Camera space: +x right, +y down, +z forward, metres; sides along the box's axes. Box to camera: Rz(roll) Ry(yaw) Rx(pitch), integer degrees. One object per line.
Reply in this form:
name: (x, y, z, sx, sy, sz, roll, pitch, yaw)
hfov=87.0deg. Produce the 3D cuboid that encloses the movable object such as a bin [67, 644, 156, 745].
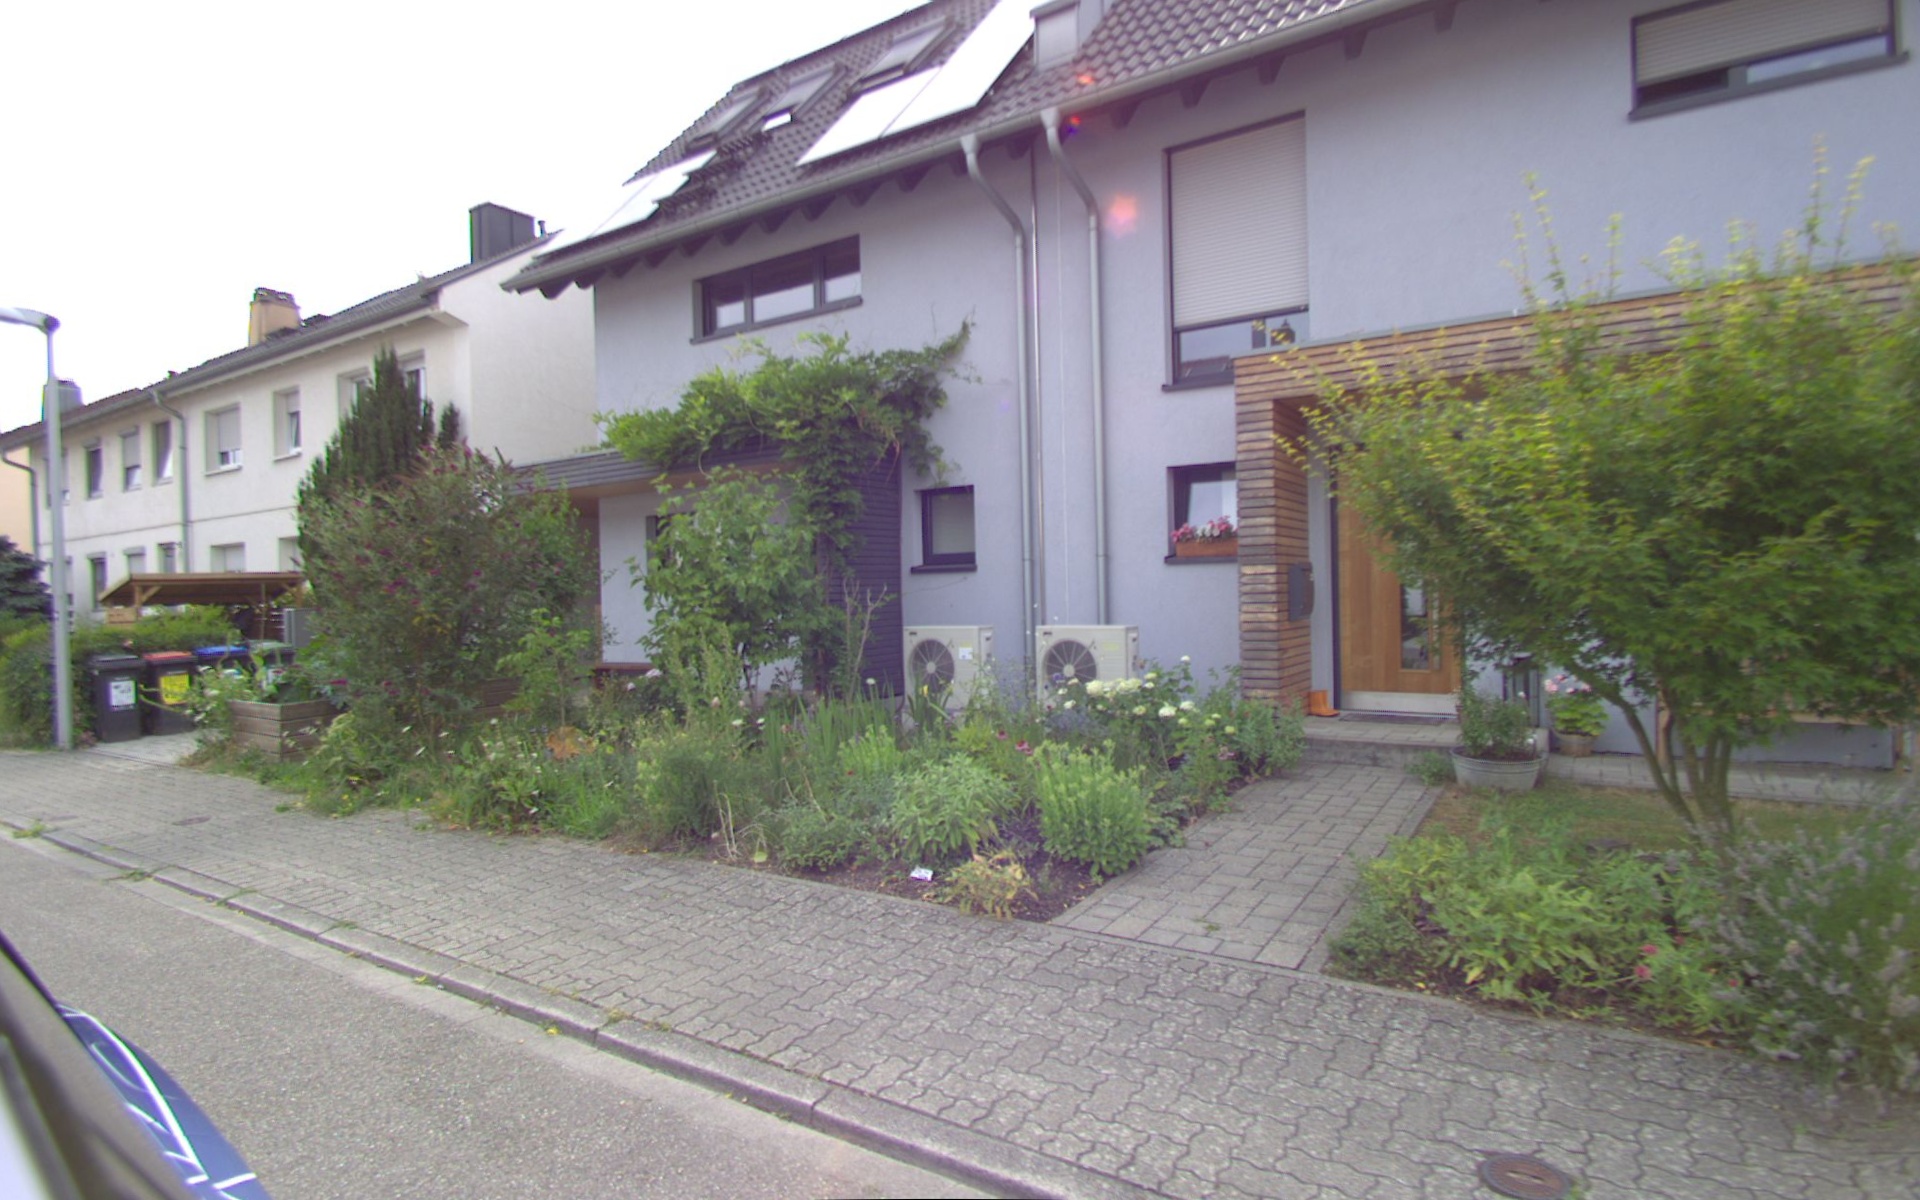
movable object such as a bin: (-9.358, 1.022, 11.163, 0.663, 1.035, 0.597, -1, -1, 34)

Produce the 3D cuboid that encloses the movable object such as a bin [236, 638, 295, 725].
movable object such as a bin: (-8.438, 0.977, 12.301, 0.466, 1.011, 0.443, -1, -1, 34)

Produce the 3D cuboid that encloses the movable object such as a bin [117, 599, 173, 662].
movable object such as a bin: (-16.575, 0.605, 20.588, 0.732, 1.249, 0.691, -2, -1, 34)

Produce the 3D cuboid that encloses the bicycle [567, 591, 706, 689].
bicycle: (-4.714, 0.547, 14.889, 0.488, 1.357, 2.072, -1, -1, 35)

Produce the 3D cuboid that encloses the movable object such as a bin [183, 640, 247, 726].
movable object such as a bin: (-8.786, 0.967, 11.936, 0.466, 0.963, 0.462, -1, 0, 34)
